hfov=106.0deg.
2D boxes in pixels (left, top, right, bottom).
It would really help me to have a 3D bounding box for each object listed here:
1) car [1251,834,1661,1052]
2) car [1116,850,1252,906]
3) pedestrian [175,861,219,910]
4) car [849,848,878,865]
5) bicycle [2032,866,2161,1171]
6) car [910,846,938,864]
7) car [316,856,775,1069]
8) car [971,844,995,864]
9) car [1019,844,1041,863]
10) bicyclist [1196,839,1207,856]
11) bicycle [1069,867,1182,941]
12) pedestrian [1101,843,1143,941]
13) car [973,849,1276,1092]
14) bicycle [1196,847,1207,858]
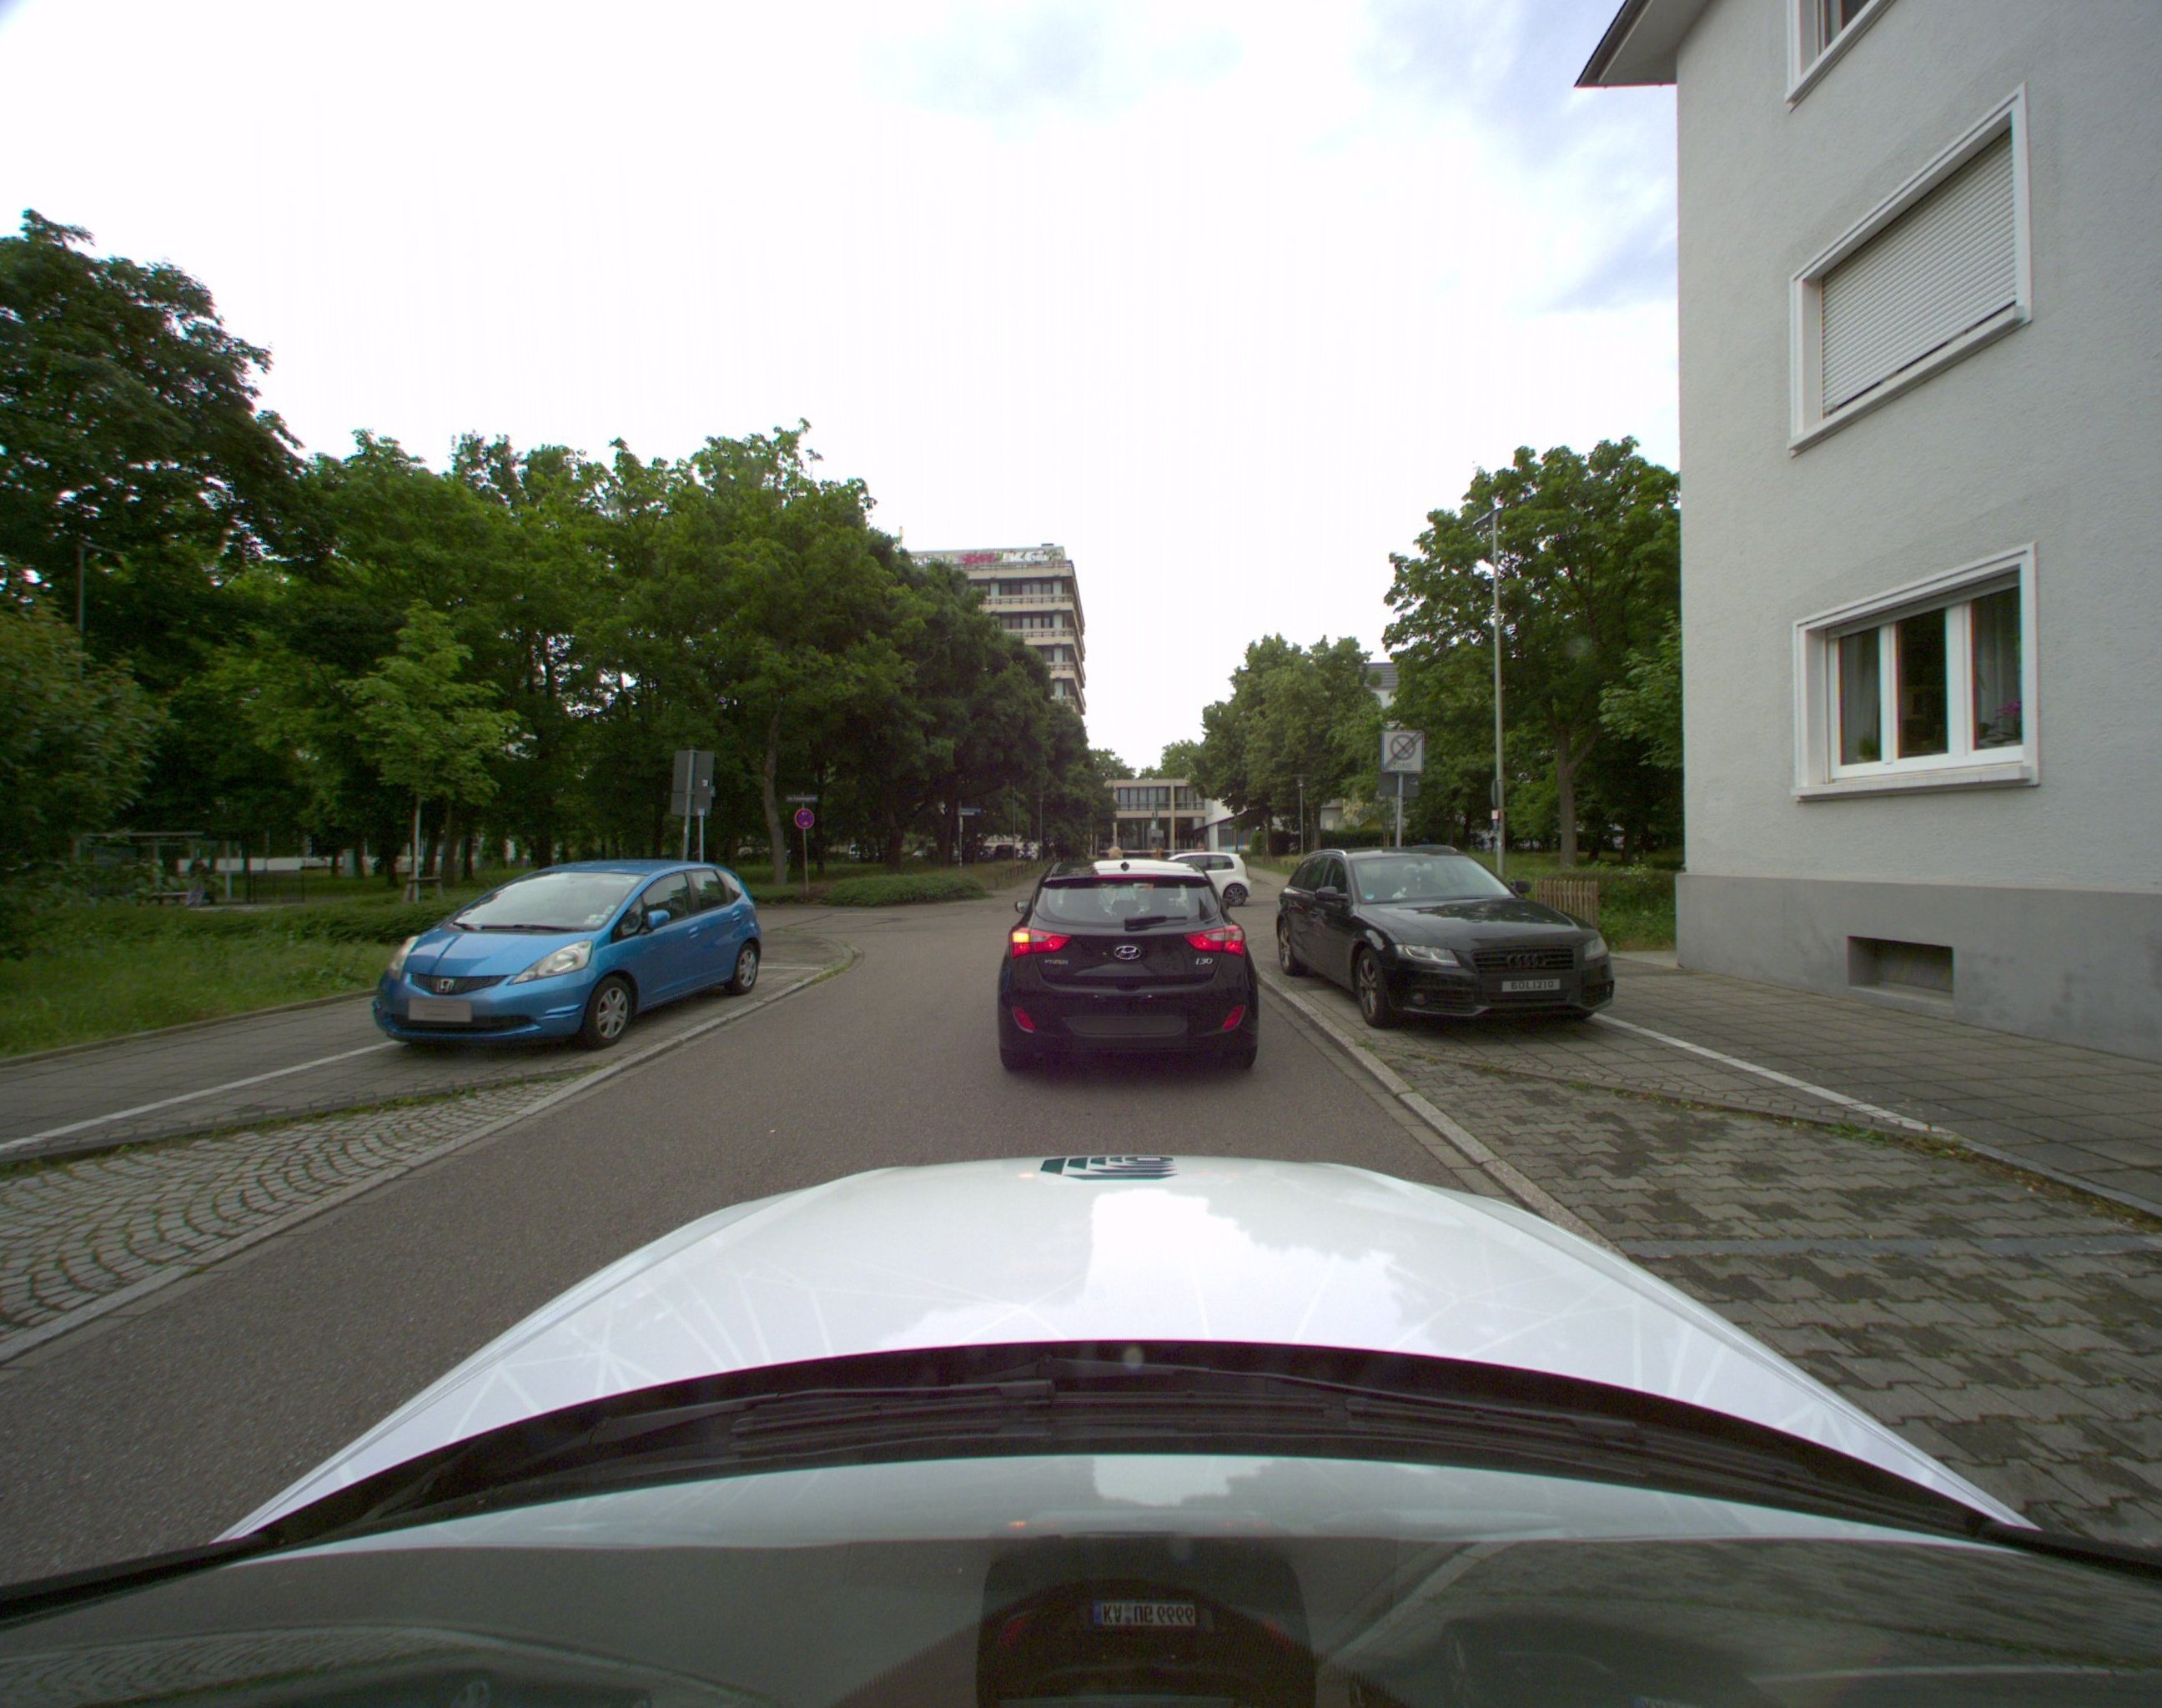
[{"bbox_3d":[3.125,0.604,8.063,1.854,1.462,4.725,-2,0,0],"label":"car"},{"bbox_3d":[2.769,0.630,22.310,3.521,1.437,1.567,-1,0,-1],"label":"car"},{"bbox_3d":[-29.124,1.024,26.842,0.693,1.583,0.656,-1,1,3],"label":"pedestrian"},{"bbox_3d":[-21.558,0.255,80.795,1.912,1.618,3.997,-1,0,-2],"label":"car"},{"bbox_3d":[4.717,0.676,2.770,0.746,1.200,1.896,-3,0,2],"label":"bicycle"},{"bbox_3d":[-15.399,0.089,80.107,1.988,1.618,3.997,-1,0,-2],"label":"car"},{"bbox_3d":[-4.642,0.796,7.900,1.724,1.462,3.958,1,0,1],"label":"car"},{"bbox_3d":[-9.585,0.024,80.215,1.988,1.794,3.996,-1,-1,-2],"label":"car"},{"bbox_3d":[-5.006,-0.025,80.157,1.988,1.762,3.997,-1,-1,-2],"label":"car"},{"bbox_3d":[12.025,-0.627,81.315,1.013,1.644,0.924,-1,1,3],"label":"bicyclist"},{"bbox_3d":[0.744,0.831,13.798,1.810,1.119,0.537,-3,1,-7],"label":"bicycle"},{"bbox_3d":[0.662,0.606,13.377,0.565,1.549,0.447,-3,1,-5],"label":"pedestrian"},{"bbox_3d":[0.265,0.711,6.905,1.840,1.462,3.826,-1,0,0],"label":"car"},{"bbox_3d":[12.011,-0.126,81.231,0.863,1.074,2.143,-1,1,3],"label":"bicycle"}]
